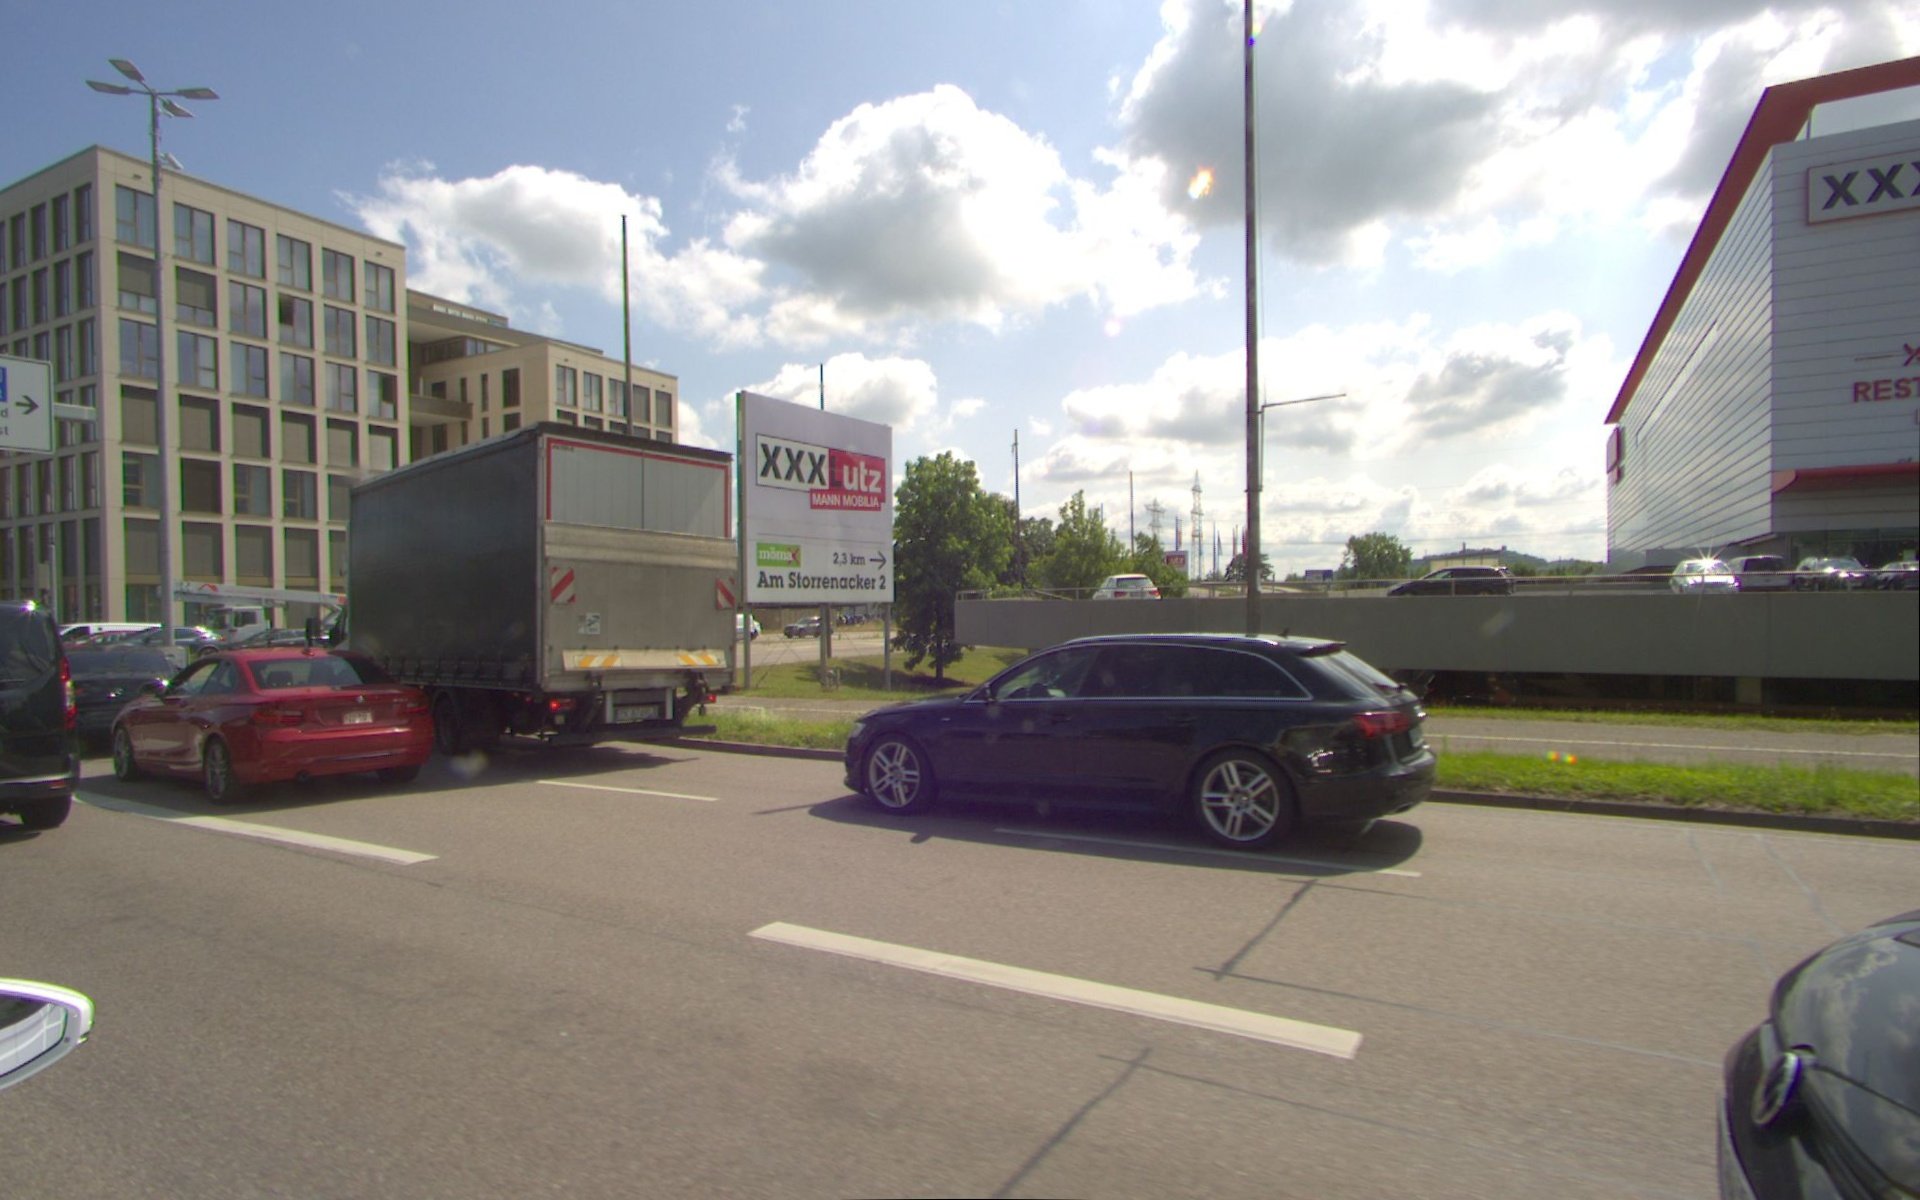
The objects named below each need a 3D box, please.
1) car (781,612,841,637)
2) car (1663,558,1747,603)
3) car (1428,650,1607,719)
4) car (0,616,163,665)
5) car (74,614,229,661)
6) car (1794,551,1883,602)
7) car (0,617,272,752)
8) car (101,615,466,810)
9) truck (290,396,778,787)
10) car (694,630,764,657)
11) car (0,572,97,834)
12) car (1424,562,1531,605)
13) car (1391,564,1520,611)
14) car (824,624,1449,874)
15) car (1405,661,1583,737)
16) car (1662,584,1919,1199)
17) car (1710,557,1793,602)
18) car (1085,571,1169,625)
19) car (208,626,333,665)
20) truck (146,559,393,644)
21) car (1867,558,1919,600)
[{"bbox_3d":[-11.497,1.883,77.423,1.809,1.861,4.408,-3,-3,43],"label":"car"},{"bbox_3d":[28.630,-0.699,38.633,1.925,1.489,4.406,-1,-2,28],"label":"car"},{"bbox_3d":[15.739,2.337,28.500,4.297,1.772,1.992,-1,-1,28],"label":"car"},{"bbox_3d":[-35.972,1.666,40.920,1.968,1.861,4.979,-2,-2,25],"label":"car"},{"bbox_3d":[-30.250,1.426,37.622,1.798,1.647,4.200,-2,-2,25],"label":"car"},{"bbox_3d":[35.047,-0.882,40.062,1.889,1.772,3.982,-2,-3,30],"label":"car"},{"bbox_3d":[-11.851,1.166,14.344,4.162,1.675,1.856,-1,-6,35],"label":"car"},{"bbox_3d":[-7.240,1.078,10.601,4.163,1.676,1.854,-3,-3,35],"label":"car"},{"bbox_3d":[-6.706,0.115,14.682,8.974,4.078,3.196,-3,-3,43],"label":"truck"},{"bbox_3d":[-16.491,3.122,71.711,1.809,1.861,4.675,-3,-3,43],"label":"car"},{"bbox_3d":[-8.895,0.802,8.169,3.945,1.929,1.819,-2,-1,33],"label":"car"},{"bbox_3d":[24.188,-0.736,46.963,4.352,1.808,1.949,-1,-1,26],"label":"car"},{"bbox_3d":[19.165,-0.444,38.897,4.352,1.626,1.949,-1,-1,26],"label":"car"},{"bbox_3d":[1.249,0.970,8.011,4.613,1.497,1.770,-2,-2,33],"label":"car"},{"bbox_3d":[13.889,2.515,26.211,3.939,1.772,1.992,-1,-1,28],"label":"car"},{"bbox_3d":[3.475,0.687,0.360,5.129,1.497,1.805,-2,-2,32],"label":"car"},{"bbox_3d":[32.860,-0.798,41.711,1.925,1.626,4.406,-1,-2,28],"label":"car"},{"bbox_3d":[5.596,-0.012,34.072,1.845,1.606,4.166,-1,-2,-5],"label":"car"},{"bbox_3d":[-30.209,1.993,44.013,1.802,1.647,4.193,-2,-3,31],"label":"car"},{"bbox_3d":[-32.512,0.233,47.818,2.632,3.599,9.756,-2,-2,25],"label":"truck"},{"bbox_3d":[37.270,-0.800,39.215,1.536,1.489,4.406,-1,-2,28],"label":"car"}]
